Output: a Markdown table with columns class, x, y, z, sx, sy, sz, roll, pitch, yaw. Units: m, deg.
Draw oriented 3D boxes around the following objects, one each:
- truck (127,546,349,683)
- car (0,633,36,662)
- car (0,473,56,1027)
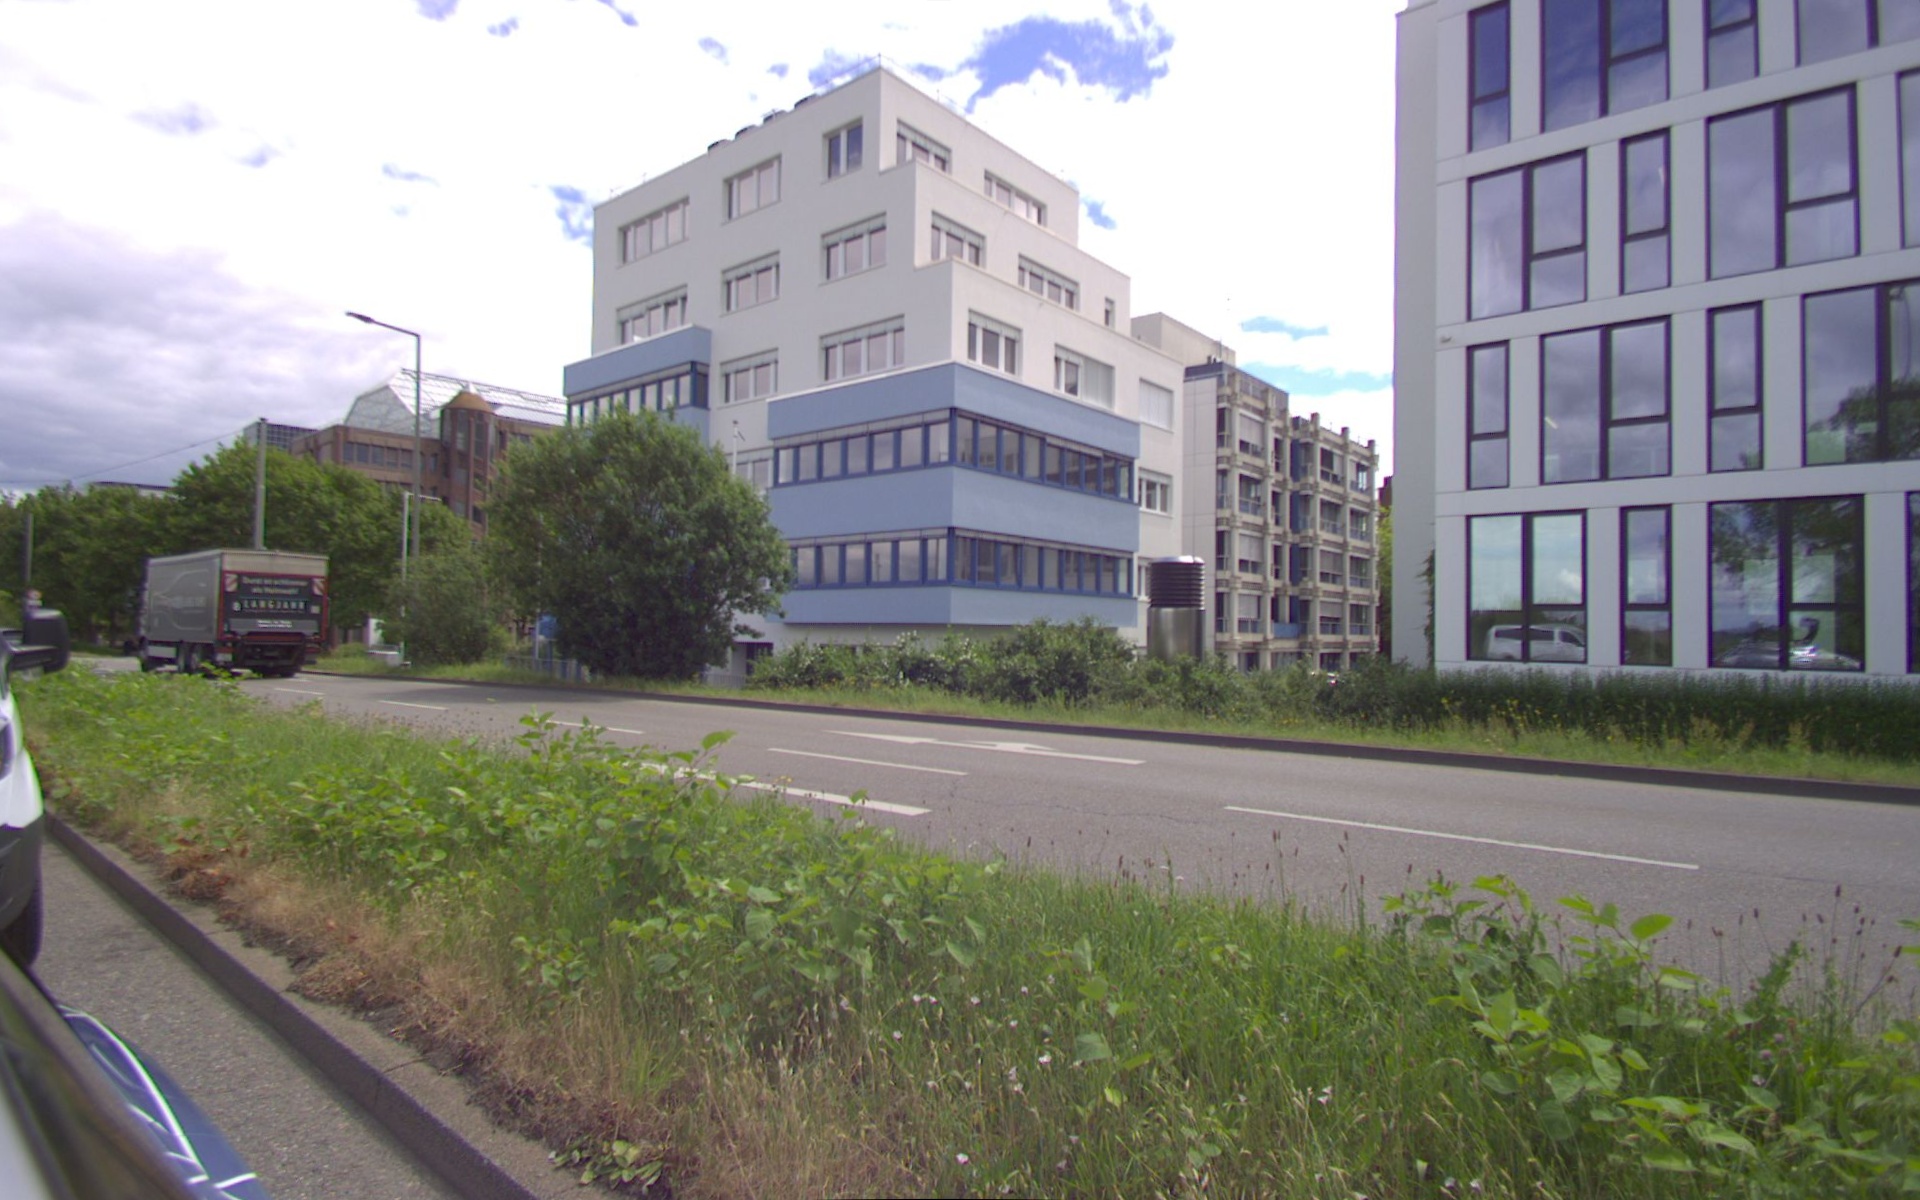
| class | x | y | z | sx | sy | sz | roll | pitch | yaw |
| --- | --- | --- | --- | --- | --- | --- | --- | --- | --- |
| truck | -21.958 | 0.470 | 30.482 | 9.519 | 3.545 | 3.135 | -1 | -3 | 40 |
| car | -48.829 | 2.422 | 51.951 | 3.775 | 1.393 | 1.538 | -2 | -2 | 39 |
| car | -5.836 | 0.574 | 4.633 | 5.052 | 1.965 | 1.942 | -1 | -1 | 41 |
